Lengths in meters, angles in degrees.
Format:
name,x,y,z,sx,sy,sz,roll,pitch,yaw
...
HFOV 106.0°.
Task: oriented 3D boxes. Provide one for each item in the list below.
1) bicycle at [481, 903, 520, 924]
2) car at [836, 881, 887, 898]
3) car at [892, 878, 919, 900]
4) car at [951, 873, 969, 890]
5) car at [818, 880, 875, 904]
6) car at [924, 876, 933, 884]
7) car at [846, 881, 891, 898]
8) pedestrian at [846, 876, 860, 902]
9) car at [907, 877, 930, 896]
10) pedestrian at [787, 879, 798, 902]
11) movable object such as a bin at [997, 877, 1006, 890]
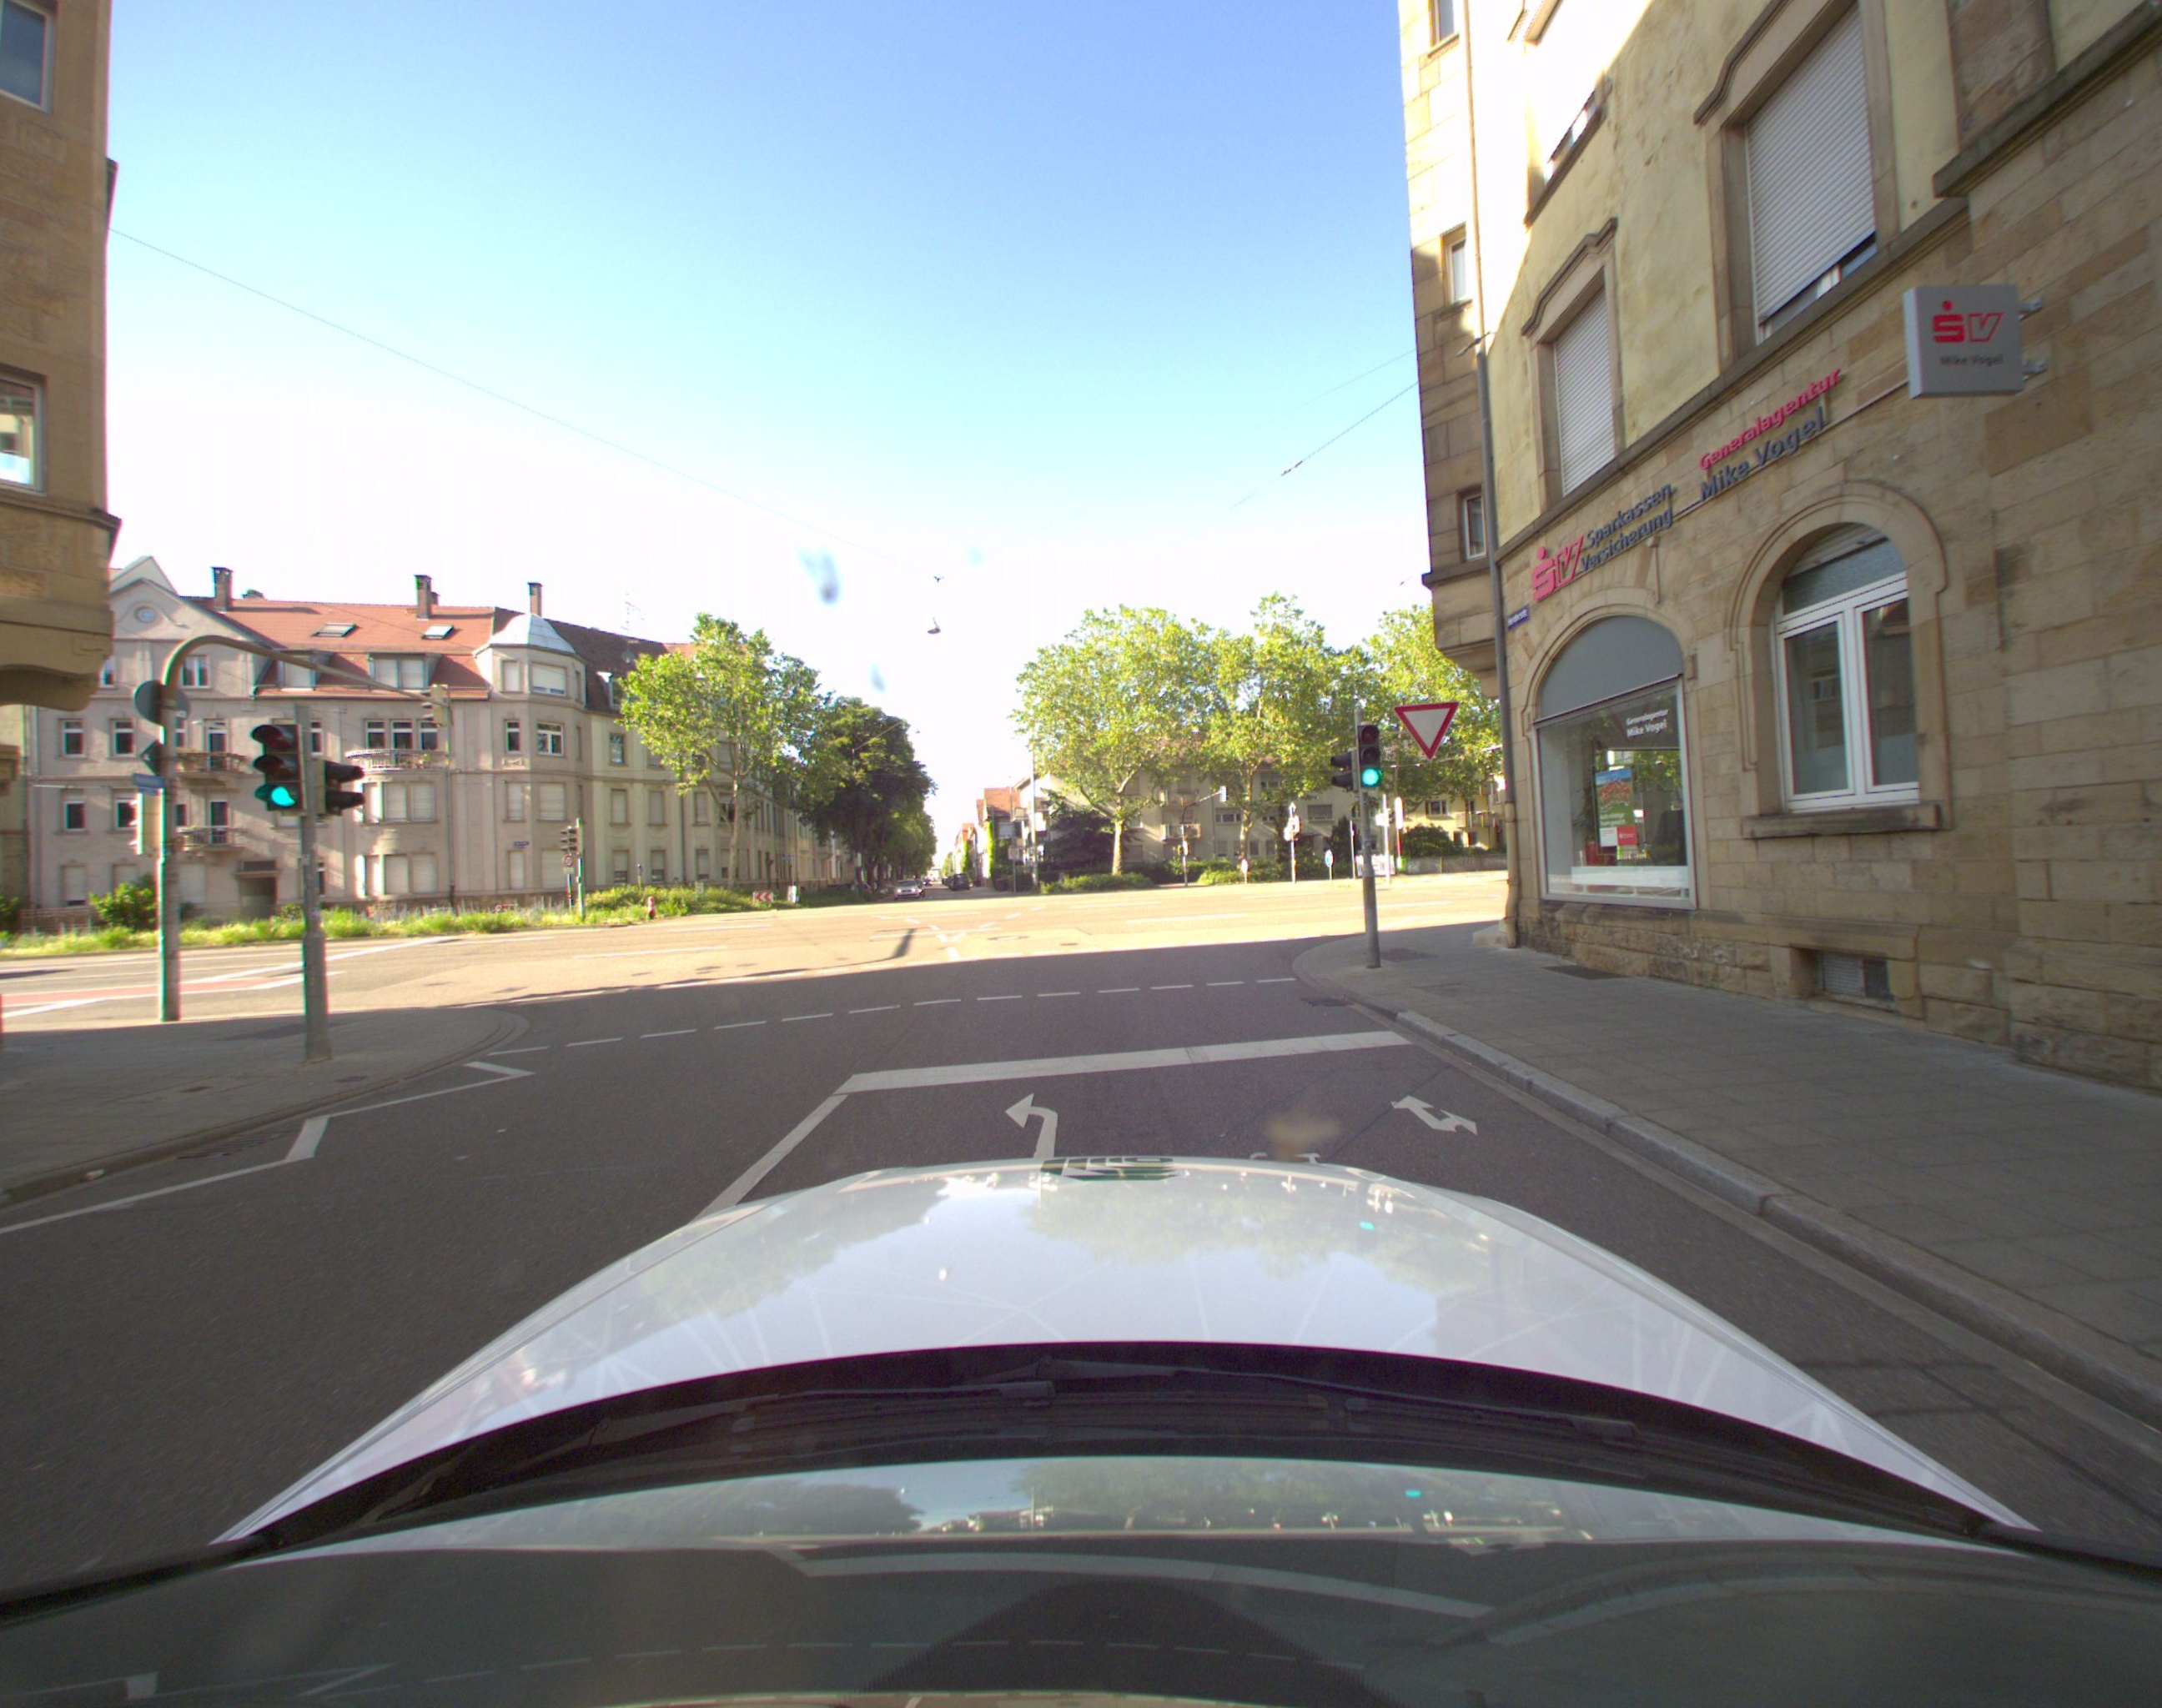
name,x,y,z,sx,sy,sz,roll,pitch,yaw
bicycle,-28.241,2.881,39.640,1.436,0.905,0.494,-3,-1,-15
car,-19.665,3.203,73.169,4.214,1.349,1.696,-2,-2,-11
car,-12.735,2.527,59.354,1.807,1.458,3.984,-3,-2,-11
car,-13.865,3.116,93.320,1.865,1.916,4.765,0,-2,-10
car,-17.788,2.882,61.917,3.884,1.476,1.609,-3,-2,-11
car,-31.383,5.419,167.207,1.642,1.508,3.688,-4,-1,-11
car,-20.244,3.349,77.661,3.987,1.482,1.779,-2,-2,-10
pedestrian,-15.284,2.355,54.627,0.691,1.682,0.680,-3,-1,0
car,-13.489,2.665,67.661,1.660,1.464,3.795,-3,-1,-10
pedestrian,-21.292,2.669,60.037,0.459,1.658,0.893,-3,-2,-2
movable object such as a bin,-6.888,2.581,70.772,0.598,1.044,0.704,-6,-1,-13
